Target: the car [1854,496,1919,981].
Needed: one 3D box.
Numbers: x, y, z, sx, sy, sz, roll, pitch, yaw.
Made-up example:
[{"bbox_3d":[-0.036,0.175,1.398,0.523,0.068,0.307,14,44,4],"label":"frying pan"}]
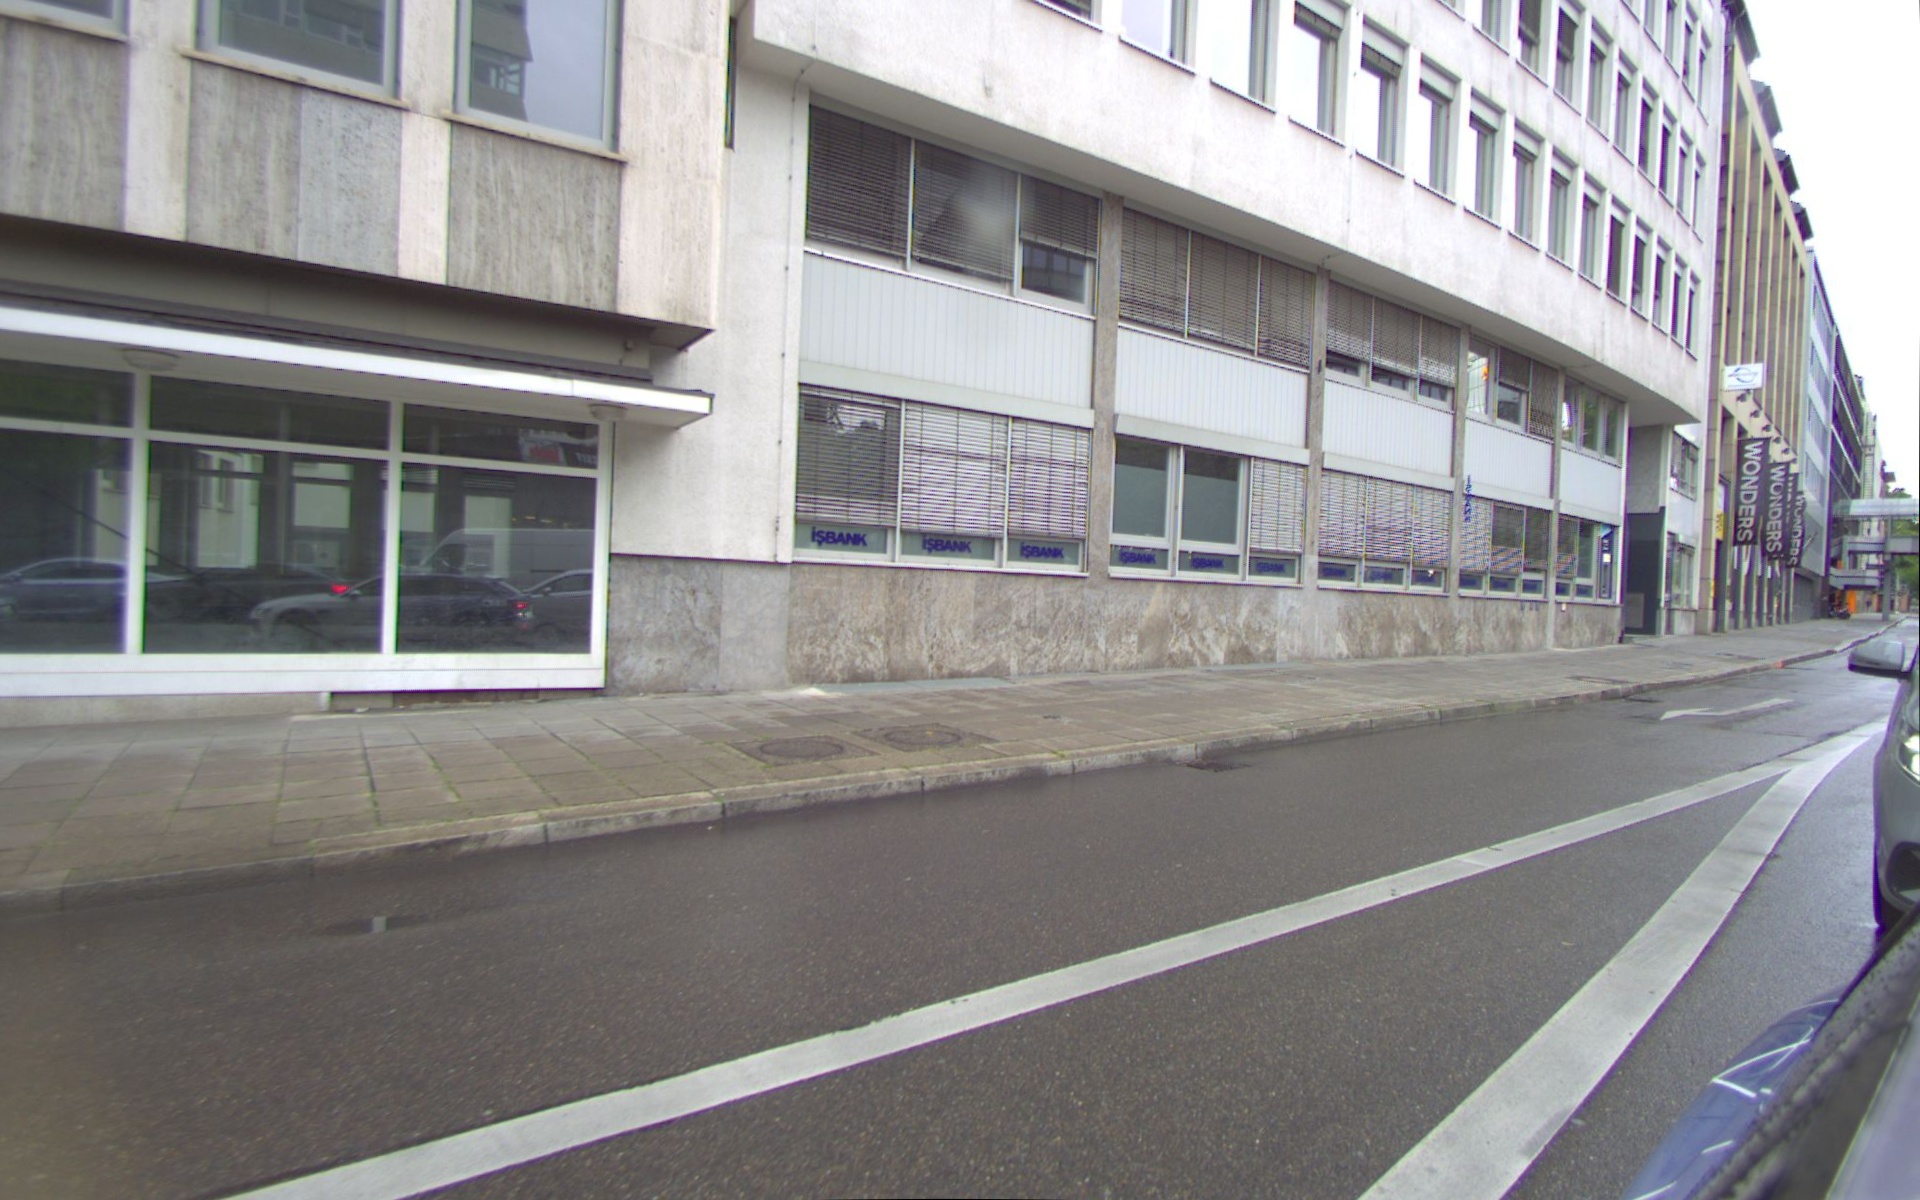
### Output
[{"bbox_3d":[6.048,0.542,5.007,4.940,1.878,1.914,0,0,-42],"label":"car"}]
